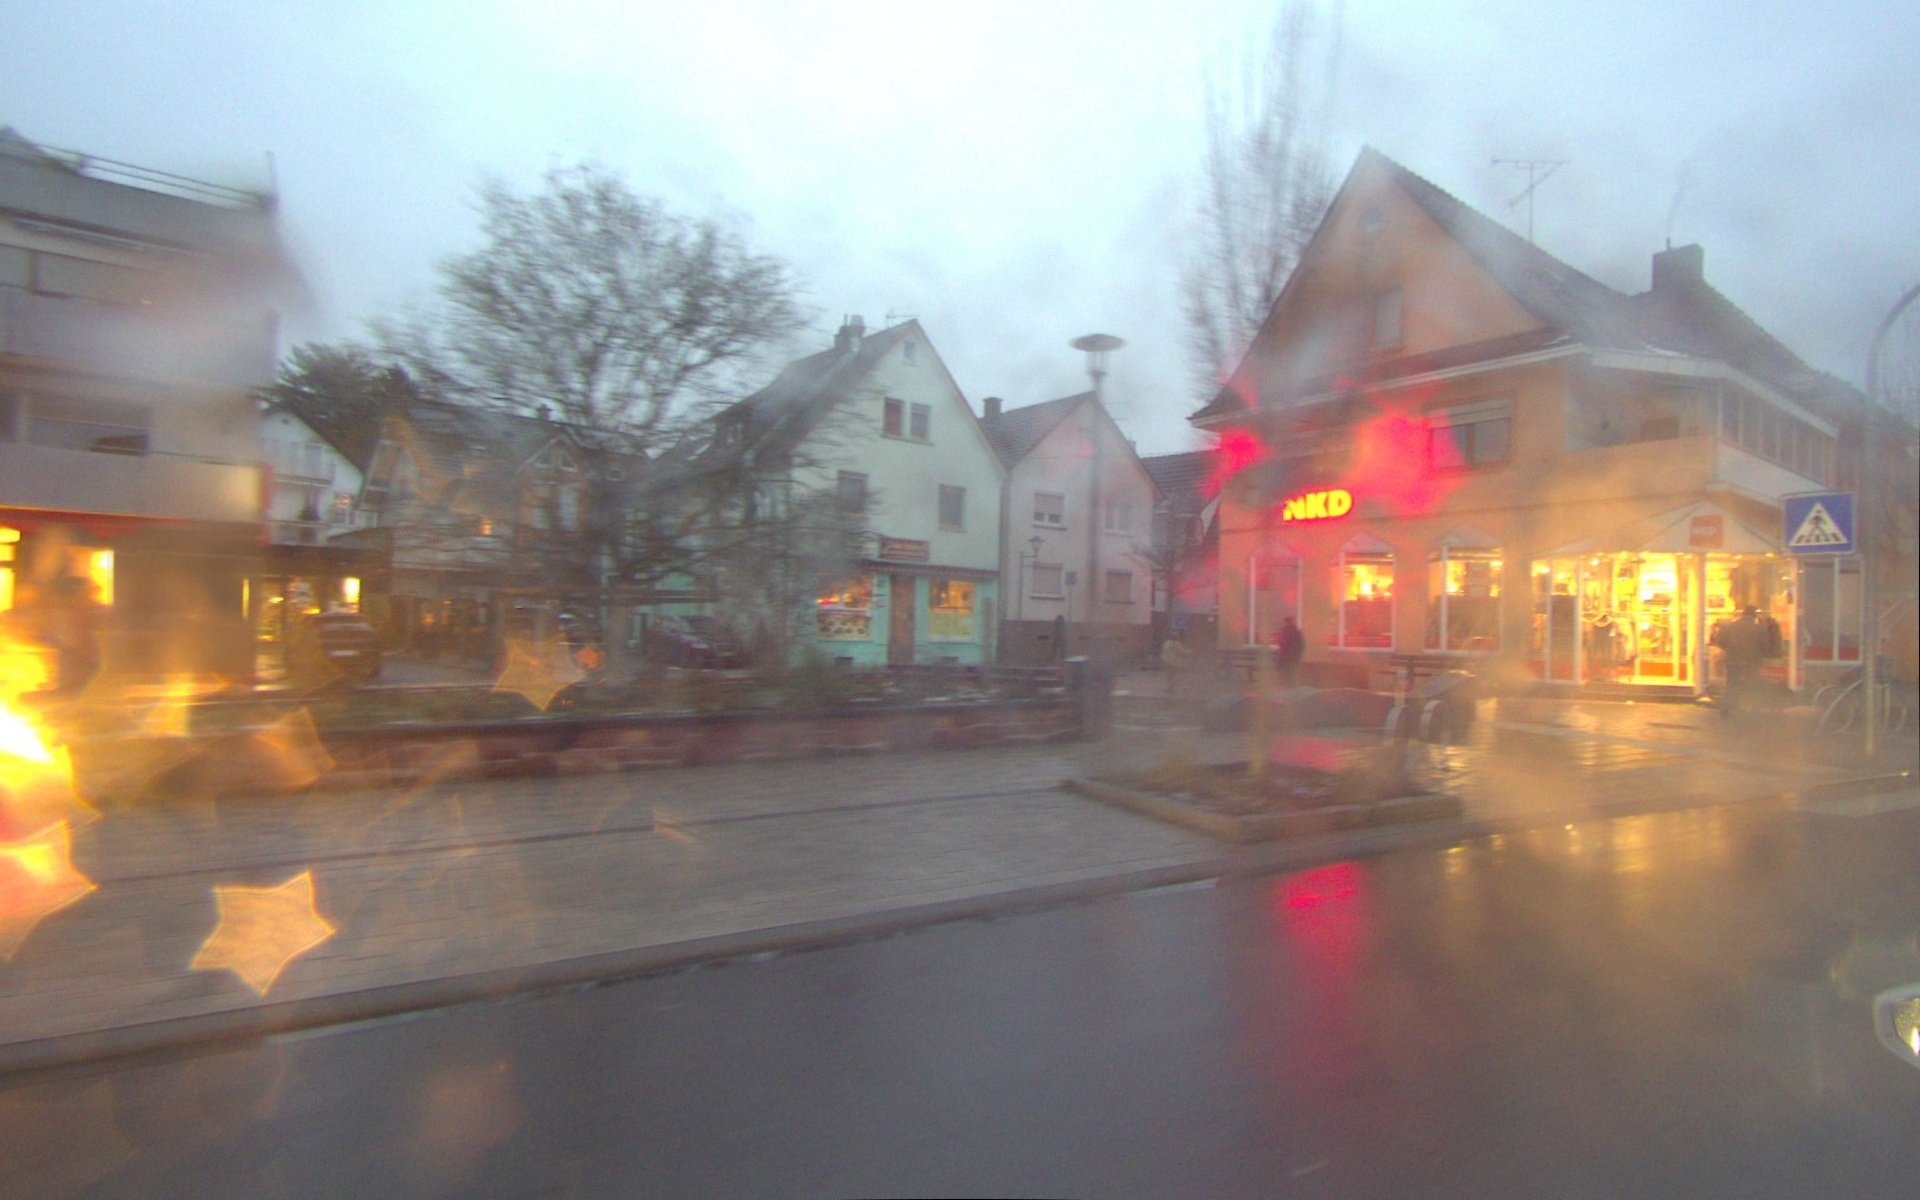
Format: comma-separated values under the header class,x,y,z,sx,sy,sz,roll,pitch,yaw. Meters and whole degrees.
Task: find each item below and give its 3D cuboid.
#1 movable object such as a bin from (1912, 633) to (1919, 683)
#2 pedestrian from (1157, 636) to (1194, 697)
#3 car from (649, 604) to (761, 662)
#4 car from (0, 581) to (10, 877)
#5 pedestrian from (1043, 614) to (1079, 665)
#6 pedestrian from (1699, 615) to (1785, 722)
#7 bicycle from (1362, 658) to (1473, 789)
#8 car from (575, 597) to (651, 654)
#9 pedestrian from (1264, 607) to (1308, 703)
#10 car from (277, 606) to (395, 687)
class,x,y,z,sx,sy,sz,roll,pitch,yaw
movable object such as a bin,27.099,1.625,27.694,0.844,1.372,1.141,1,0,-38
pedestrian,4.725,1.442,22.074,0.673,1.262,0.826,2,1,5
car,-7.762,0.955,30.356,1.966,1.624,3.960,2,-1,-36
car,-6.218,0.612,3.313,4.134,1.508,1.775,2,0,-31
pedestrian,3.561,1.372,35.310,0.834,1.738,0.908,1,0,-41
pedestrian,13.006,1.116,16.714,1.087,1.680,0.820,1,1,-36
bicycle,4.399,1.141,9.601,0.321,1.075,1.733,-6,-4,44
car,-12.289,0.861,35.460,1.555,1.882,3.276,1,0,-38
pedestrian,7.122,1.183,21.976,0.721,2.040,0.826,2,1,9
car,-15.776,1.138,25.319,1.984,1.868,3.954,2,-2,-40
